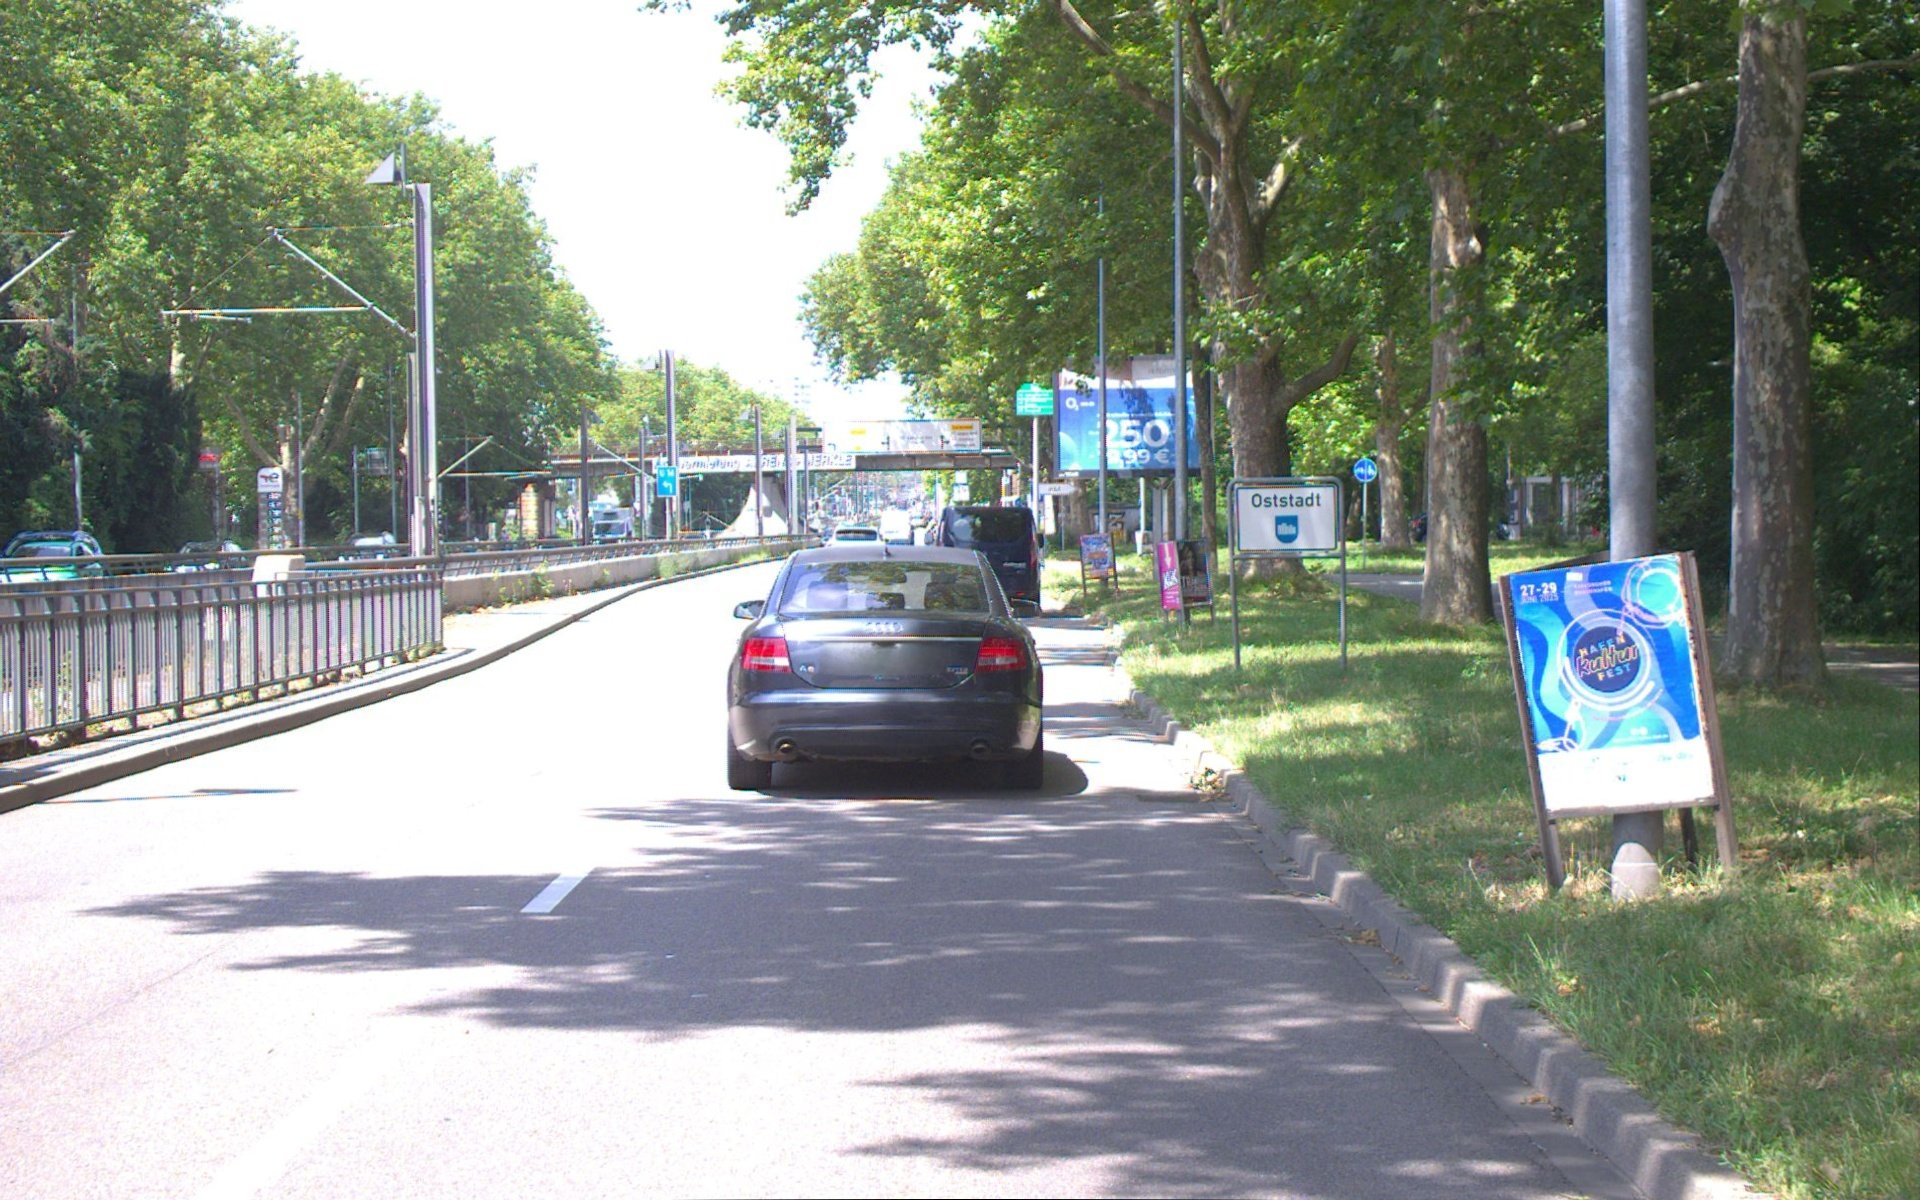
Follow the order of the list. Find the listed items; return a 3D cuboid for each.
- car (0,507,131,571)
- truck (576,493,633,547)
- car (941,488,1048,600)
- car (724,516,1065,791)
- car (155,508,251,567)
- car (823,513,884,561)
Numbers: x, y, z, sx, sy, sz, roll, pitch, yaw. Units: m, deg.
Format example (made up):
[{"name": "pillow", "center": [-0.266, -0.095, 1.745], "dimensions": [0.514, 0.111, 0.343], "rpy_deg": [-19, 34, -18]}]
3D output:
[{"name": "car", "center": [-18.227, -1.252, 69.994], "dimensions": [1.645, 1.261, 3.837], "rpy_deg": [0, 1, 2]}, {"name": "truck", "center": [-20.231, -4.576, 195.985], "dimensions": [2.990, 3.010, 8.002], "rpy_deg": [0, 1, -4]}, {"name": "car", "center": [0.664, -1.037, 62.929], "dimensions": [1.848, 1.952, 4.144], "rpy_deg": [1, 1, 2]}, {"name": "car", "center": [-0.429, 0.244, 20.698], "dimensions": [1.842, 1.479, 4.001], "rpy_deg": [-1, 1, -2]}, {"name": "car", "center": [-22.428, -1.871, 102.053], "dimensions": [1.744, 1.678, 4.384], "rpy_deg": [0, 1, 2]}, {"name": "car", "center": [-3.294, -1.960, 106.183], "dimensions": [1.845, 1.459, 4.001], "rpy_deg": [0, 1, -2]}]
